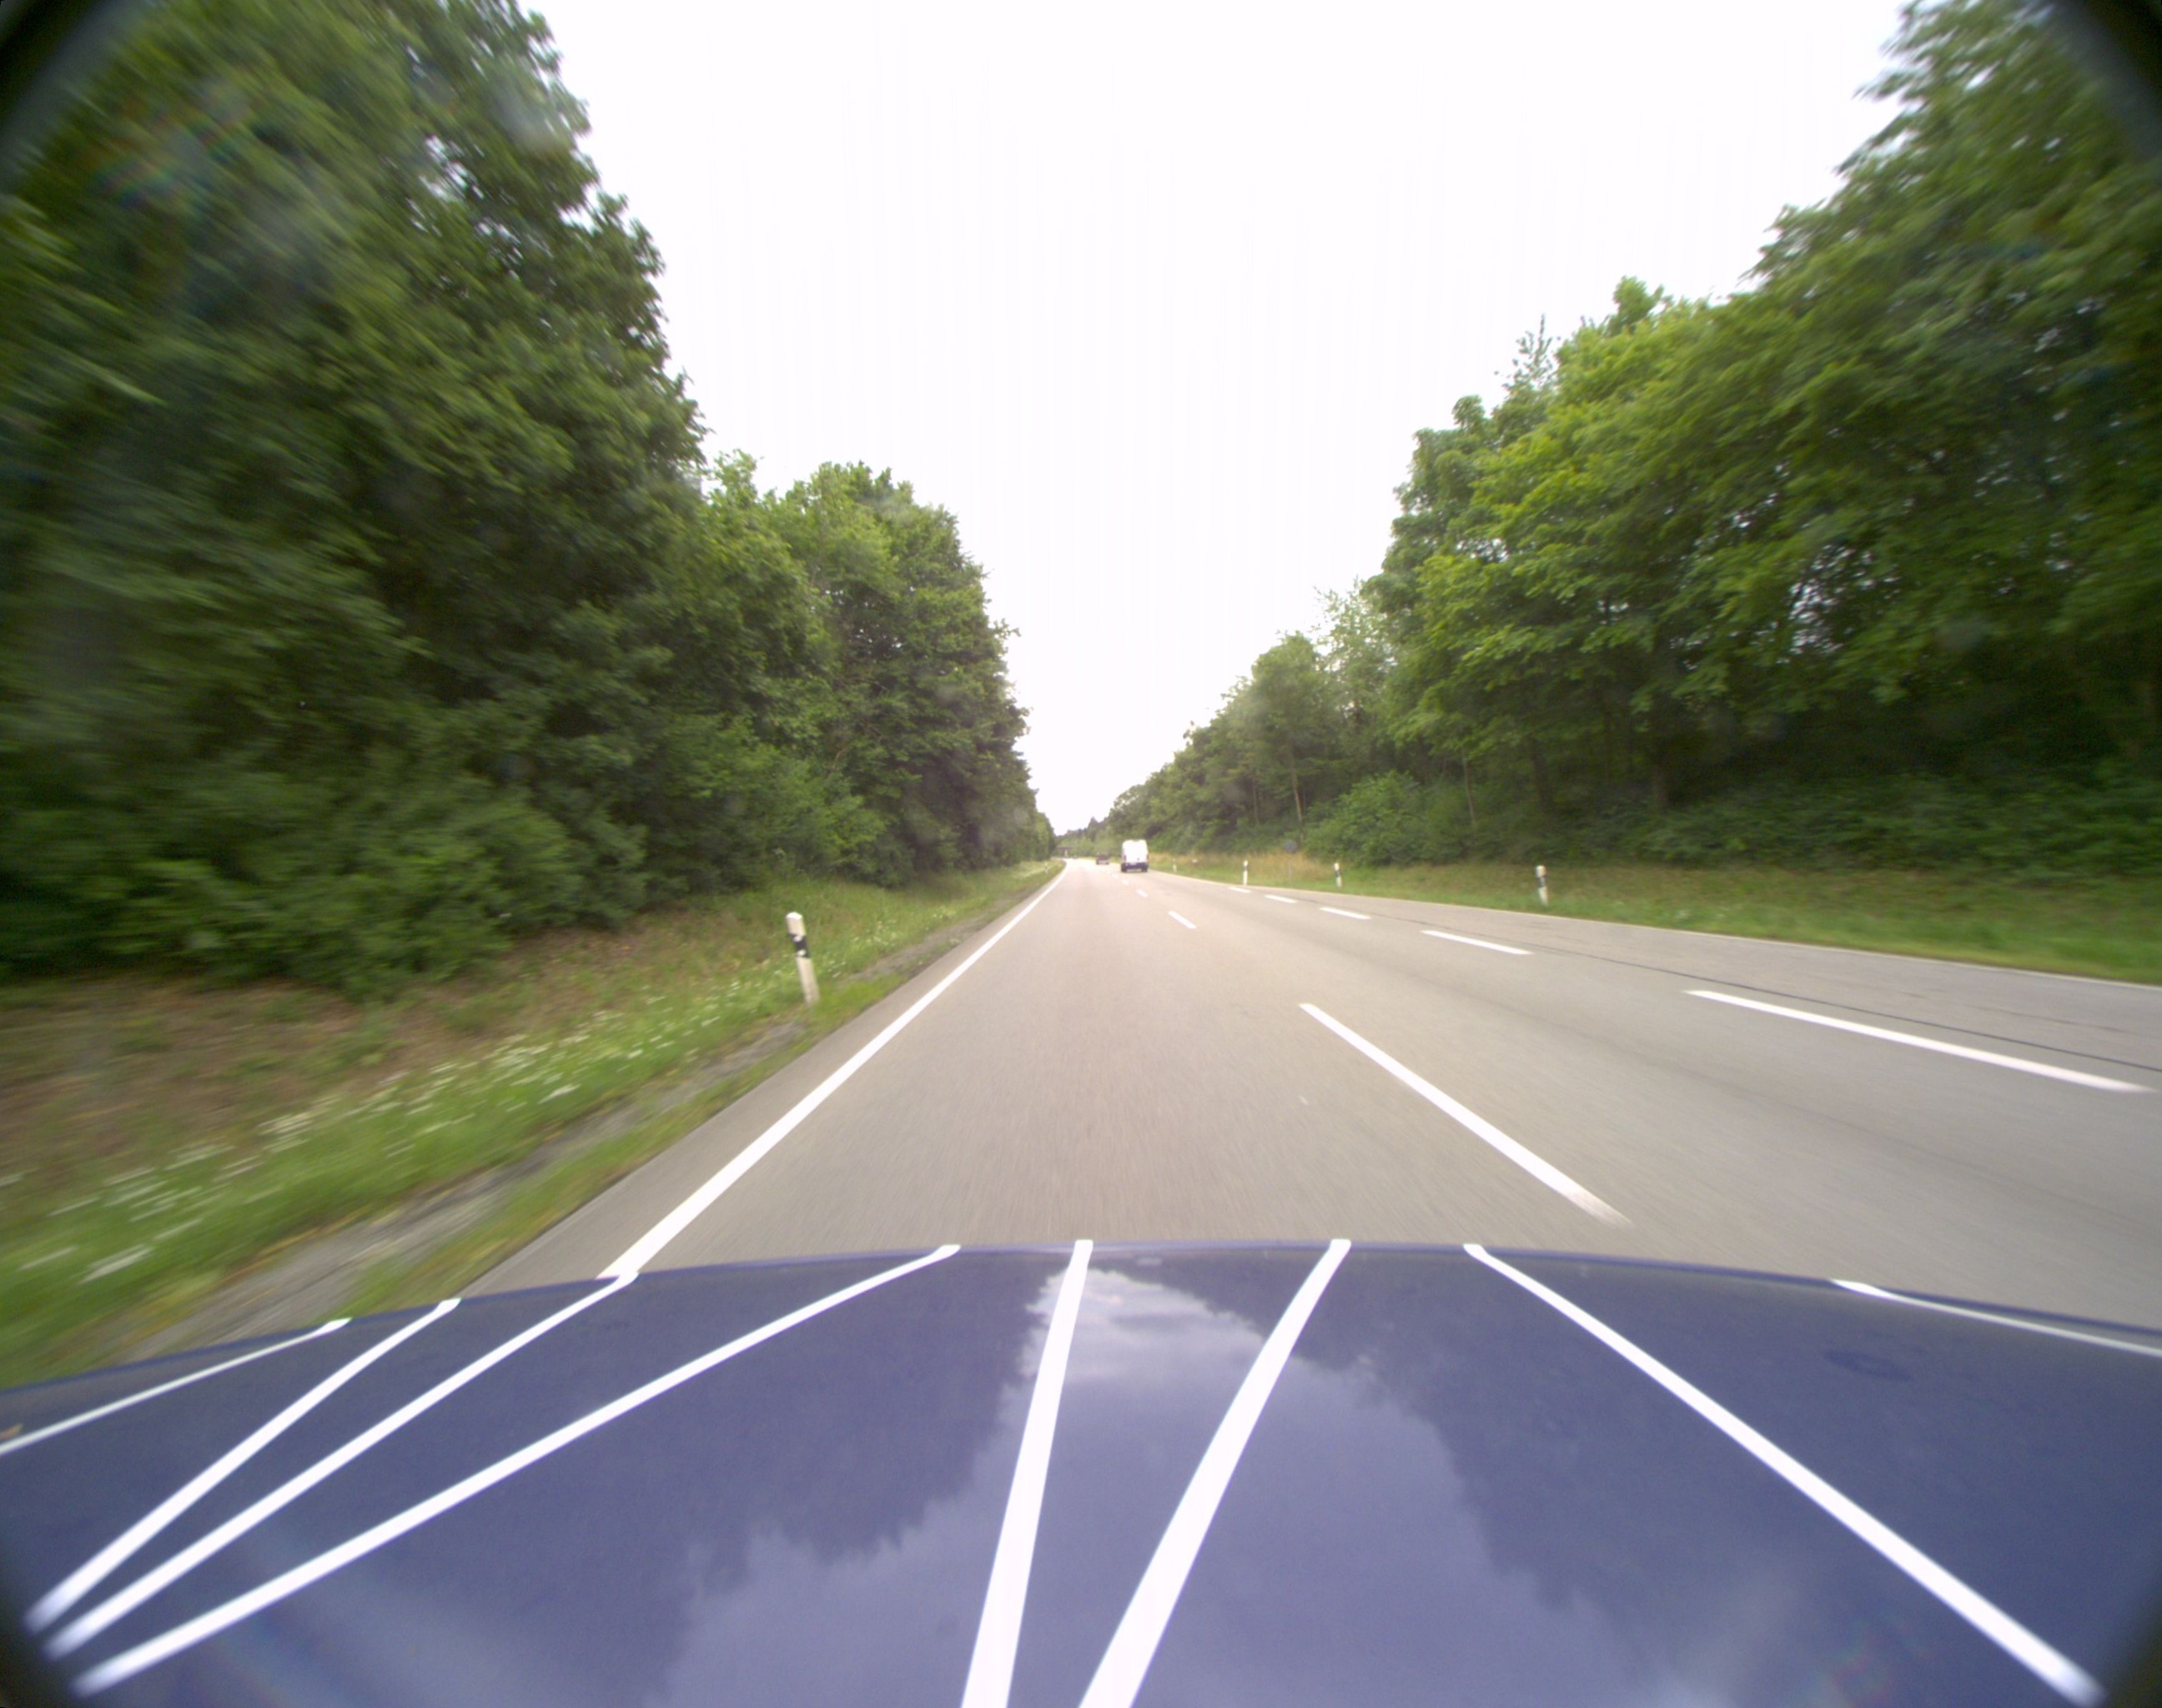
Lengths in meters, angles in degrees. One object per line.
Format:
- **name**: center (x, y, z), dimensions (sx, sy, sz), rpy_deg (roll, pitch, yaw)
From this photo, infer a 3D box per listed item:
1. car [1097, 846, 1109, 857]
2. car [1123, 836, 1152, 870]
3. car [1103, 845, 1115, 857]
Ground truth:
- **car**: center (3.532, -0.432, 121.008), dimensions (1.768, 1.699, 3.653), rpy_deg (-2, 1, 1)
- **car**: center (4.701, -0.080, 64.261), dimensions (1.998, 2.681, 5.977), rpy_deg (-2, 1, 1)
- **car**: center (4.260, -0.473, 114.982), dimensions (1.608, 1.699, 3.476), rpy_deg (-2, 1, 1)
